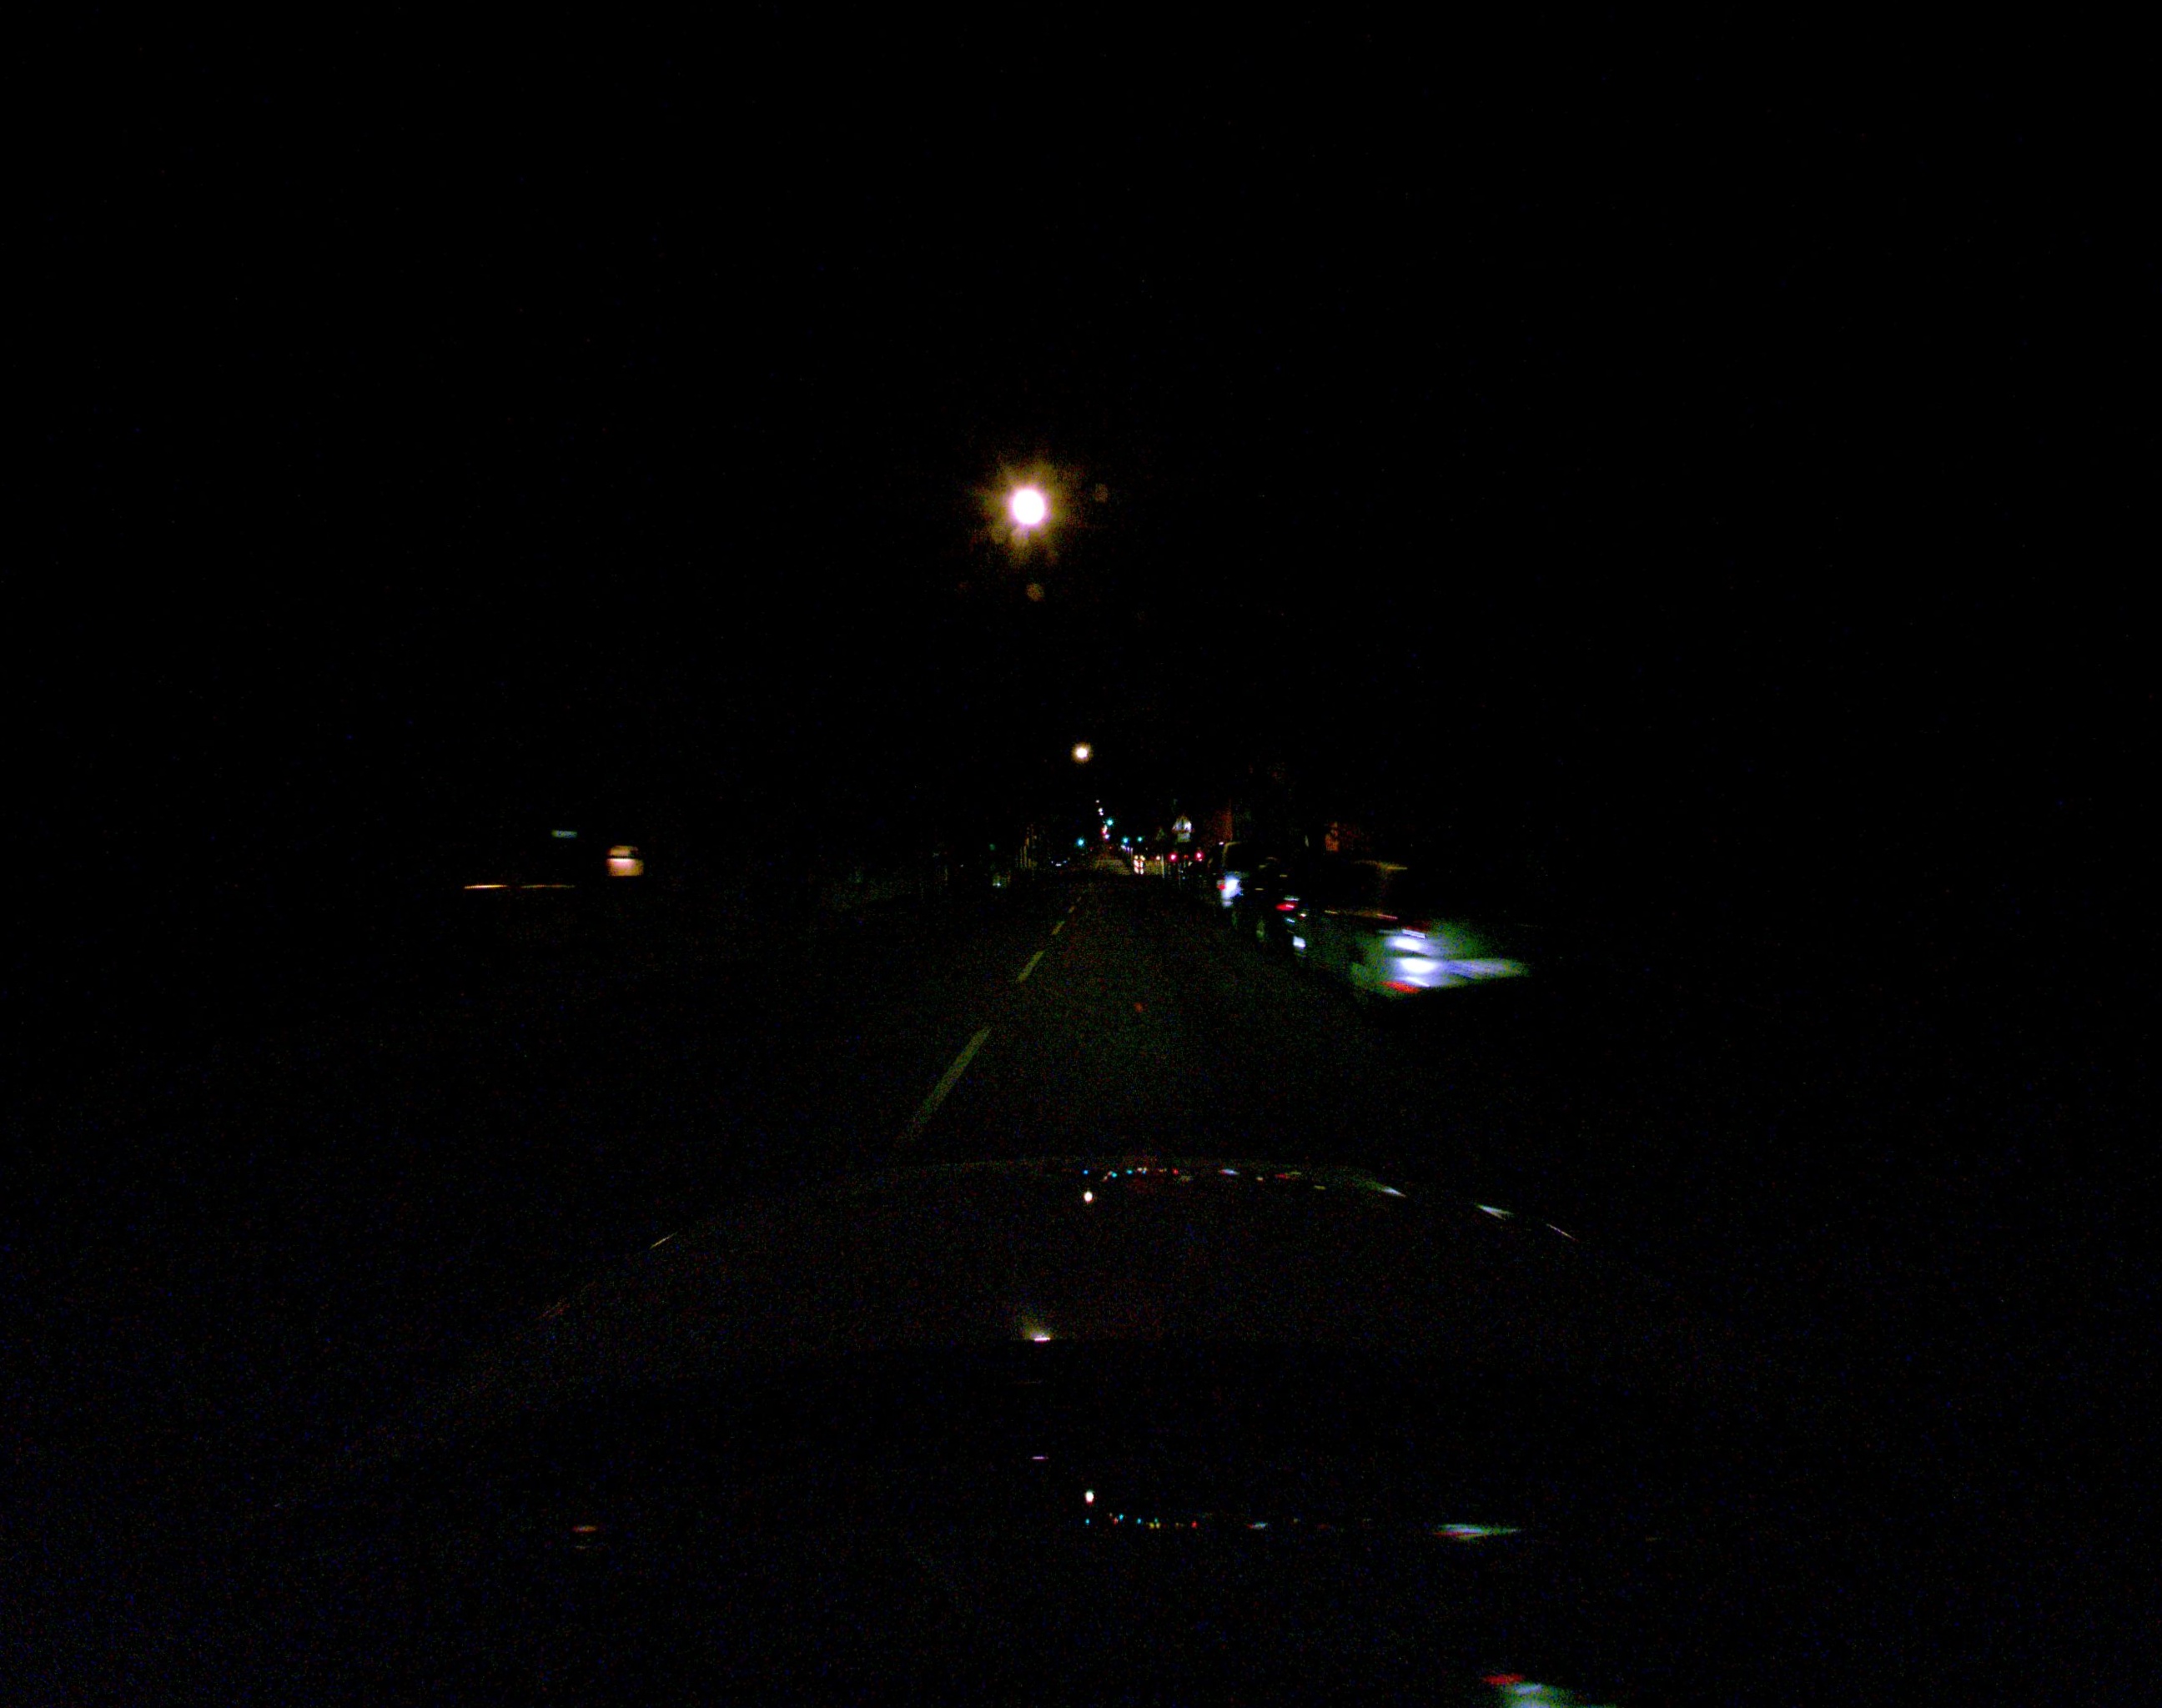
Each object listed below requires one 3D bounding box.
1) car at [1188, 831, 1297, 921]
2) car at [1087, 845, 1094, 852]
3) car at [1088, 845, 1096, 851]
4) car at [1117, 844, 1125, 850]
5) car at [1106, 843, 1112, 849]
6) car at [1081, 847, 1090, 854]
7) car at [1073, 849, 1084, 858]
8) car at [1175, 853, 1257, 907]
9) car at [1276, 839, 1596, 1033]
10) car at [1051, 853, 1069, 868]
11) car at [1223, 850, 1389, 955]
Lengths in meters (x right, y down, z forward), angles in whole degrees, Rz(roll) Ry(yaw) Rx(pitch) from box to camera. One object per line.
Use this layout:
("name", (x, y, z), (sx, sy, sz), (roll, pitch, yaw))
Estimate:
("car", (3.784, 0.483, 19.768), (1.729, 1.855, 4.316), (-3, 0, 0))
("car", (2.572, -1.386, 220.842), (1.866, 1.814, 4.207), (-2, 0, 2))
("car", (3.236, -1.763, 238.794), (1.866, 1.814, 4.208), (-2, 0, 3))
("car", (10.290, -1.775, 209.379), (1.866, 1.544, 4.207), (-2, 0, 2))
("car", (8.553, -2.327, 248.317), (1.866, 1.814, 4.208), (-2, 0, 3))
("car", (1.046, -0.767, 196.610), (1.866, 1.544, 4.207), (-2, 0, 2))
("car", (-0.425, -0.110, 158.812), (1.866, 1.544, 4.207), (-2, 0, 2))
("car", (3.998, 0.723, 24.815), (1.722, 1.419, 4.322), (-2, 0, 0))
("car", (3.405, 0.679, 8.731), (1.733, 1.477, 4.002), (-5, 0, 2))
("car", (-2.245, 0.656, 87.100), (1.664, 1.443, 4.207), (-2, 0, 2))
("car", (3.627, 0.703, 13.945), (1.679, 1.421, 4.445), (-3, 0, 2))
